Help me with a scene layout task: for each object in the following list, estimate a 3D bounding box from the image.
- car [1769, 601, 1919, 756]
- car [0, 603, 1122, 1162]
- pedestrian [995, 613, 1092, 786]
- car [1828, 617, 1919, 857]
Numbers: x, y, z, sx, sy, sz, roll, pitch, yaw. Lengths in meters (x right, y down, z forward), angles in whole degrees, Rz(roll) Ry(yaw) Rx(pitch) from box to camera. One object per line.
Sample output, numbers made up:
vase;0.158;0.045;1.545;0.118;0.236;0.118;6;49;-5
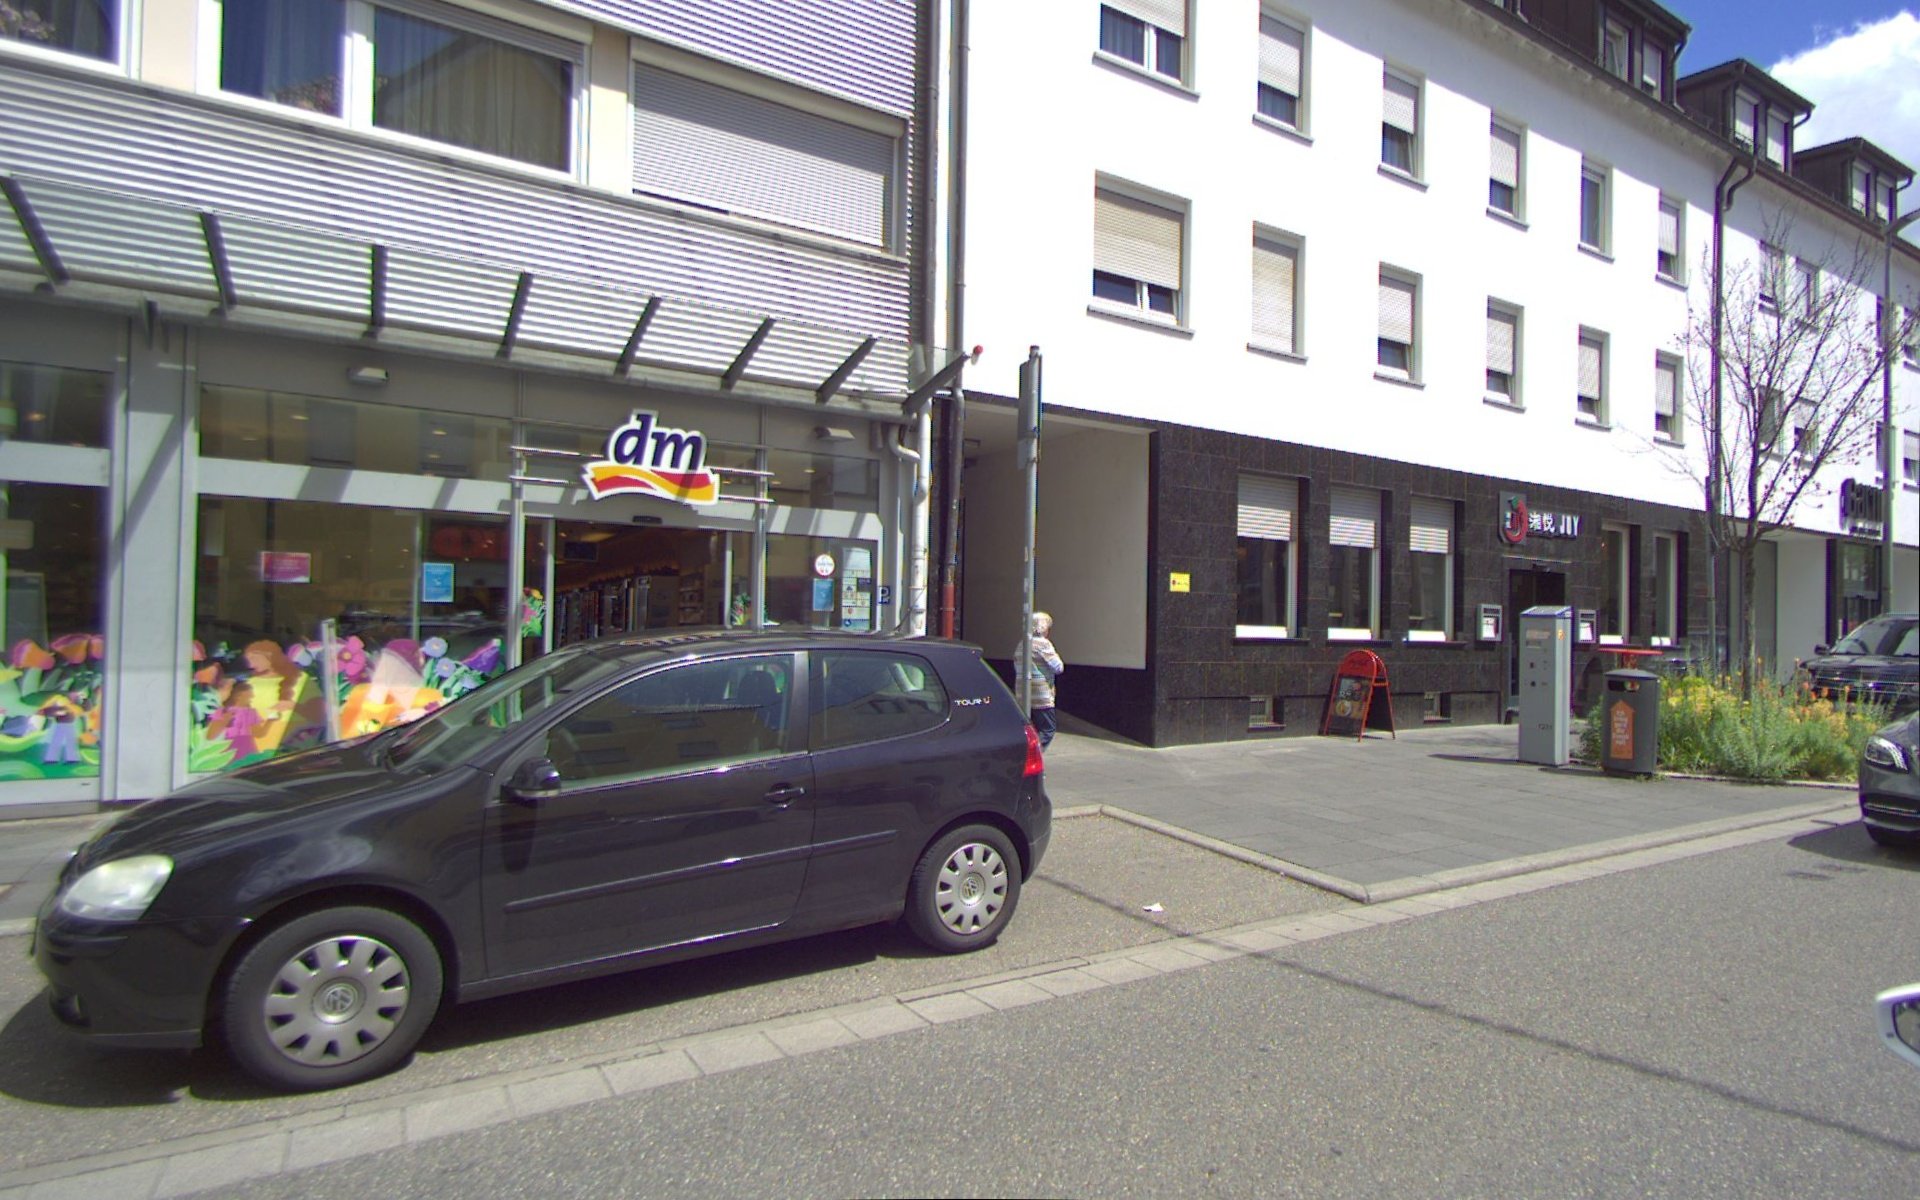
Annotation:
car;12.894;0.993;13.220;4.610;1.778;1.809;2;0;-28
car;-1.407;0.843;4.674;4.133;1.523;1.779;2;0;-33
pedestrian;0.747;0.874;9.073;0.556;1.474;0.651;2;0;-30
car;8.551;0.924;7.377;4.591;1.584;1.897;1;-2;-30
